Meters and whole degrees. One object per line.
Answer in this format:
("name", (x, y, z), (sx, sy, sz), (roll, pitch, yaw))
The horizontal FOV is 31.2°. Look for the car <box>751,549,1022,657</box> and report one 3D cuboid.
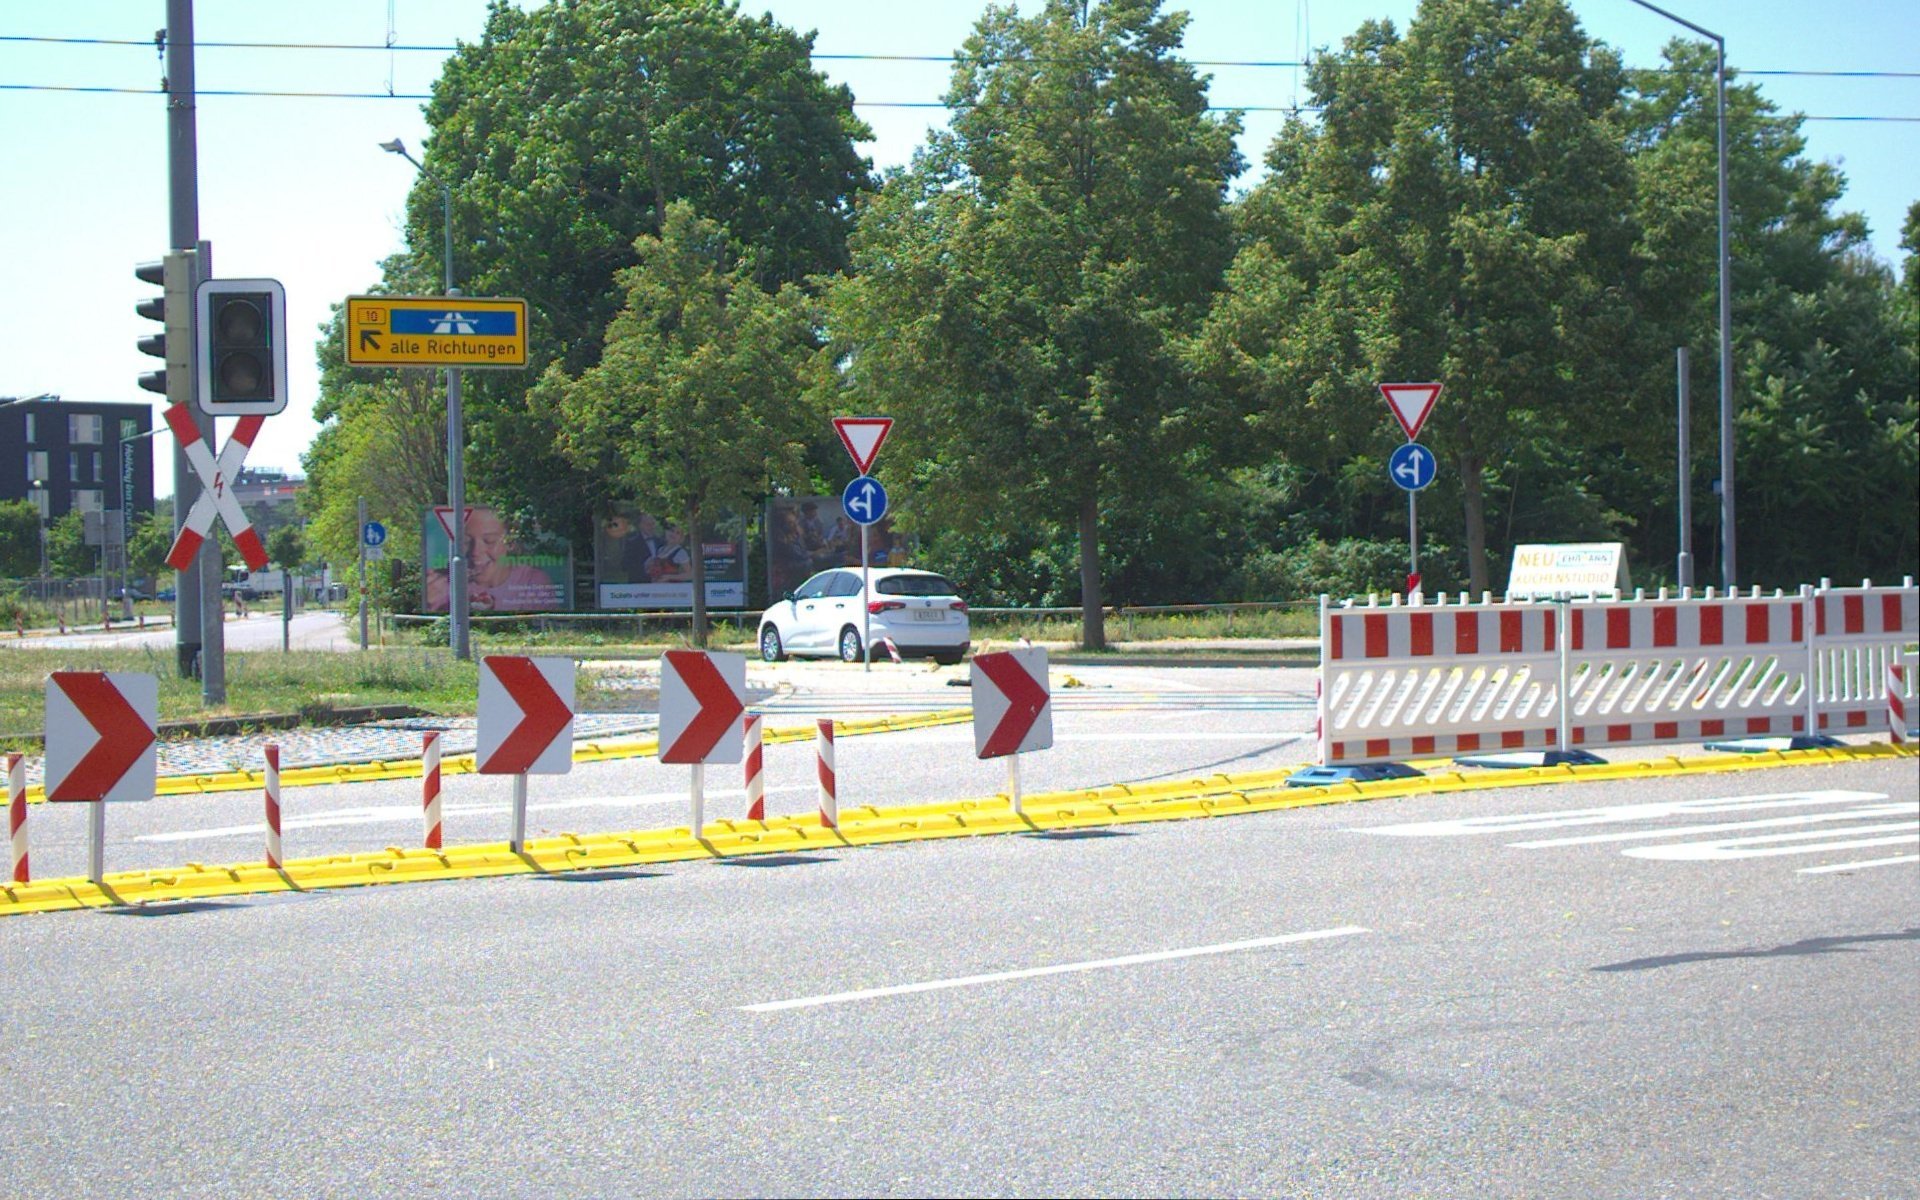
("car", (-1.133, 0.035, 50.712), (1.994, 1.481, 4.366), (-2, 1, -32))
